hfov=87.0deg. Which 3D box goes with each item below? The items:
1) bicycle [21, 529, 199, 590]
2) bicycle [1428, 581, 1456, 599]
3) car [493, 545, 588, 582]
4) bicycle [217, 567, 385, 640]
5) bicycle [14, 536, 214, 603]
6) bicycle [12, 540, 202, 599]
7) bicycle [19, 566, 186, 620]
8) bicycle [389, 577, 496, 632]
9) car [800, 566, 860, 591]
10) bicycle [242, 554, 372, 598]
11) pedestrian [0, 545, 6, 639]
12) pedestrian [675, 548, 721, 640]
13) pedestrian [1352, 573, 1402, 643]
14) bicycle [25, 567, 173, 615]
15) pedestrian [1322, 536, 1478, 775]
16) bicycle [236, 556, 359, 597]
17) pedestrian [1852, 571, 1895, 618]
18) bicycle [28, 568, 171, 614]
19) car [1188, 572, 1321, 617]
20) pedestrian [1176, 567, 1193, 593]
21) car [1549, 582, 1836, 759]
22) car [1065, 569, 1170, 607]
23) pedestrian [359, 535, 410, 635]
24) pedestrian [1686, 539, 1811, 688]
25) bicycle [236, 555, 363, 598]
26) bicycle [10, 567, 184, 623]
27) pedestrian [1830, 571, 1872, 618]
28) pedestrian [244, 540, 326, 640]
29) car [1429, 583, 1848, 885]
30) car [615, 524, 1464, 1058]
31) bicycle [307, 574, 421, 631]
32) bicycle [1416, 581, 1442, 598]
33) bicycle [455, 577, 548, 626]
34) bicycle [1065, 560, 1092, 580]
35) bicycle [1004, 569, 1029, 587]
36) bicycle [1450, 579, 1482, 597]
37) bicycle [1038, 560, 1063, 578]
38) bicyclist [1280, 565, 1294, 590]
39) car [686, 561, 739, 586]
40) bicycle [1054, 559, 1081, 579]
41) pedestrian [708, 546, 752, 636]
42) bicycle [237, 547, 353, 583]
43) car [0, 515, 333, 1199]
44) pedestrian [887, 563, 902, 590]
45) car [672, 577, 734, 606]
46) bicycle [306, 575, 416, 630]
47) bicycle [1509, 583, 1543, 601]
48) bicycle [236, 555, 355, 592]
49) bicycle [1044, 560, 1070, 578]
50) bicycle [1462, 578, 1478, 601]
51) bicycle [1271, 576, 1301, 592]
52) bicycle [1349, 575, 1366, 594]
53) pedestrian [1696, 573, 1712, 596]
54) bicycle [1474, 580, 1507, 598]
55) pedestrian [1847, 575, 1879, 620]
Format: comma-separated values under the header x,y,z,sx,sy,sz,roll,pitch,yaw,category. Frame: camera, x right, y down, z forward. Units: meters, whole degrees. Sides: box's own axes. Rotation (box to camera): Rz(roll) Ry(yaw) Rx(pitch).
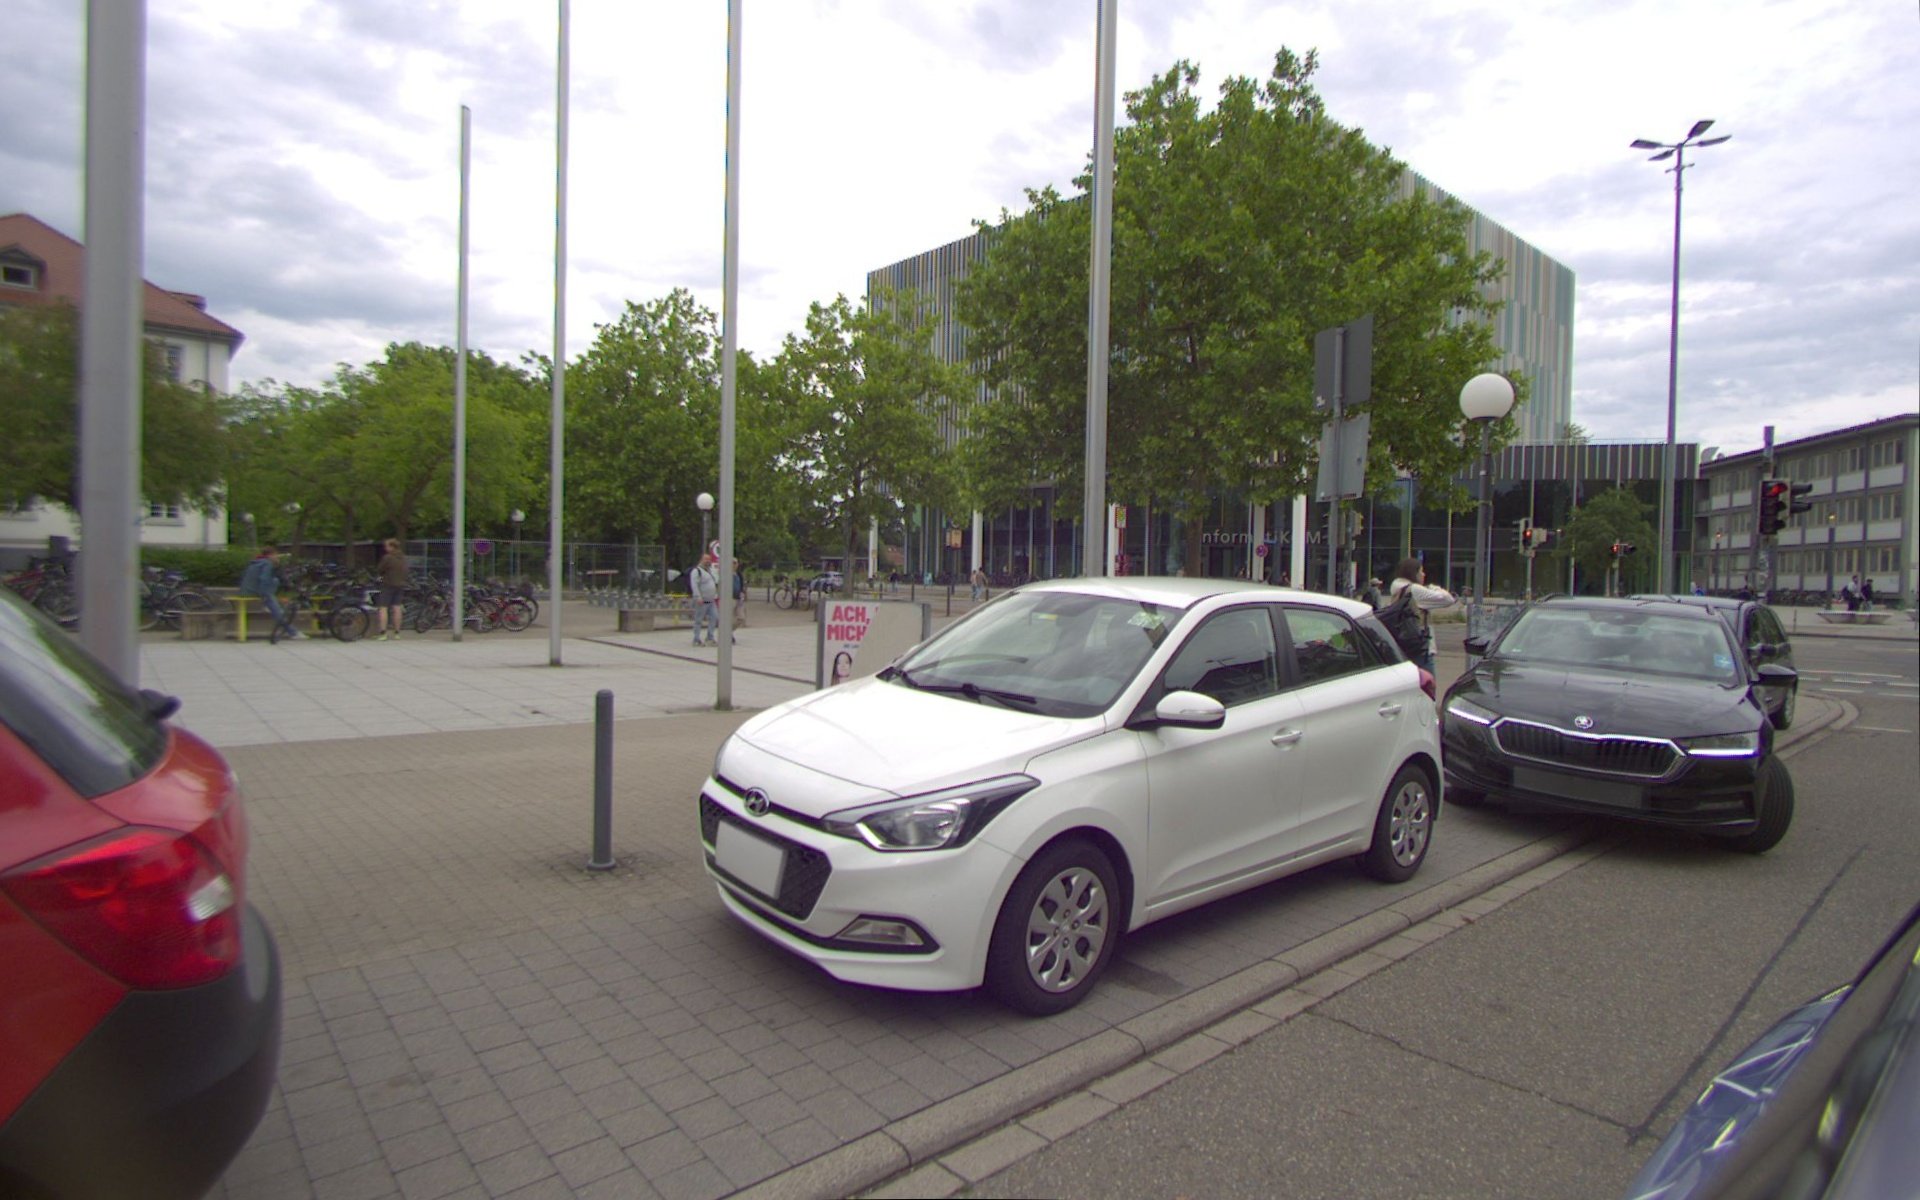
x,y,z,sx,sy,sz,roll,pitch,yaw,category
-19.427,-0.895,23.242,3.052,1.185,0.747,3,-1,-40,bicycle
27.377,-0.580,57.477,0.538,0.947,2.011,1,2,-2,bicycle
-21.089,-1.810,50.990,1.985,1.774,4.020,2,2,32,car
-11.405,0.089,17.602,0.456,1.185,2.375,1,-1,44,bicycle
-17.197,-0.597,20.706,3.052,1.185,0.747,3,-1,-40,bicycle
-18.034,-0.631,21.518,3.052,1.184,0.747,0,2,-40,bicycle
-21.017,-0.156,24.924,3.052,1.185,0.747,3,-1,-40,bicycle
-10.574,0.088,20.733,0.456,1.062,1.905,3,2,44,bicycle
-8.847,-1.477,68.645,1.966,1.486,4.220,3,0,-42,car
-20.309,-0.711,31.540,3.329,1.185,1.055,3,-1,-36,bicycle
-15.312,-0.130,15.461,0.848,1.438,0.956,2,2,38,pedestrian
-5.066,-0.130,19.573,0.665,1.736,0.673,0,2,-35,pedestrian
10.013,0.173,24.326,0.777,1.647,0.759,0,1,-27,pedestrian
-23.855,-0.229,28.143,3.052,1.185,0.747,3,-1,-40,bicycle
3.541,0.404,8.175,0.805,1.809,0.794,0,2,-29,pedestrian
-21.947,-0.751,33.586,3.329,1.185,1.055,3,-1,-36,bicycle
35.995,-0.217,39.899,0.831,1.810,0.893,1,1,6,pedestrian
-24.625,-0.249,29.056,3.052,1.185,0.747,3,-1,-40,bicycle
10.635,-0.257,36.782,1.966,1.508,4.285,-1,2,-41,car
15.441,-1.375,69.547,0.788,1.810,0.762,-1,3,-40,pedestrian
8.197,0.614,11.195,4.034,1.519,1.626,-1,4,-41,car
6.528,-0.518,42.155,1.966,1.471,3.993,-2,2,-41,car
-10.803,-0.288,19.003,0.660,1.856,0.511,1,1,-1,pedestrian
11.376,0.187,14.638,0.742,1.972,0.797,6,7,-15,pedestrian
-21.207,-0.735,32.542,3.329,1.185,1.055,3,-1,-36,bicycle
-20.341,-0.098,23.968,3.052,1.185,0.747,3,-1,-40,bicycle
35.311,-0.226,40.115,0.831,1.810,0.893,1,1,7,pedestrian
-12.112,-0.191,18.165,0.846,1.725,0.957,3,2,34,pedestrian
4.878,0.646,7.512,1.854,1.418,4.426,5,3,33,car
0.603,0.487,4.751,3.792,1.471,1.864,0,2,-42,car
-11.709,0.034,19.948,0.454,1.062,1.912,3,2,34,bicycle
26.652,-0.607,57.531,0.474,0.947,2.011,1,2,-2,bicycle
-10.570,0.033,23.380,0.456,1.062,1.905,3,2,44,bicycle
8.550,-2.158,73.010,2.065,1.275,0.628,3,-1,-37,bicycle
4.296,-1.672,77.139,2.069,1.274,0.627,0,2,-43,bicycle
28.432,-0.671,56.905,0.474,0.947,2.014,0,2,-10,bicycle
6.690,-2.286,74.962,2.068,1.275,0.627,3,-1,-43,bicycle
19.856,-1.364,61.500,0.593,1.487,0.485,0,1,-24,bicyclist
-17.002,-1.828,69.367,1.964,1.638,4.191,0,2,-38,car
7.853,-2.254,73.830,2.065,1.275,0.628,3,-1,-37,bicycle
-4.565,-0.190,20.084,0.645,1.736,0.585,-1,1,-35,pedestrian
-23.234,-1.205,35.410,3.330,1.184,1.056,0,2,-36,bicycle
-3.223,0.578,0.995,4.200,1.491,1.716,0,4,-42,car
-4.370,-1.569,67.419,0.794,1.832,0.588,0,1,-37,pedestrian
-14.669,-0.516,57.660,1.964,1.530,3.998,0,2,-38,car
-12.201,0.047,20.665,0.454,1.062,1.911,3,2,35,bicycle
31.819,-0.464,56.953,0.474,0.947,2.014,0,2,-10,bicycle
-22.593,-0.916,34.483,3.330,1.184,1.055,-1,2,-36,bicycle
7.164,-2.273,74.495,2.068,1.275,0.627,3,-1,-43,bicycle
25.317,-0.527,50.231,0.478,1.058,1.773,1,2,20,bicycle
19.801,-0.989,61.496,1.876,0.937,0.485,0,2,-24,bicycle
22.989,-0.911,58.573,0.476,1.058,1.912,1,2,9,bicycle
58.113,-1.214,79.025,0.767,1.811,0.756,2,2,21,pedestrian
29.752,-0.621,56.816,0.474,0.947,2.014,0,2,-10,bicycle
34.385,-0.117,38.533,0.607,1.687,0.624,1,0,3,pedestrian
